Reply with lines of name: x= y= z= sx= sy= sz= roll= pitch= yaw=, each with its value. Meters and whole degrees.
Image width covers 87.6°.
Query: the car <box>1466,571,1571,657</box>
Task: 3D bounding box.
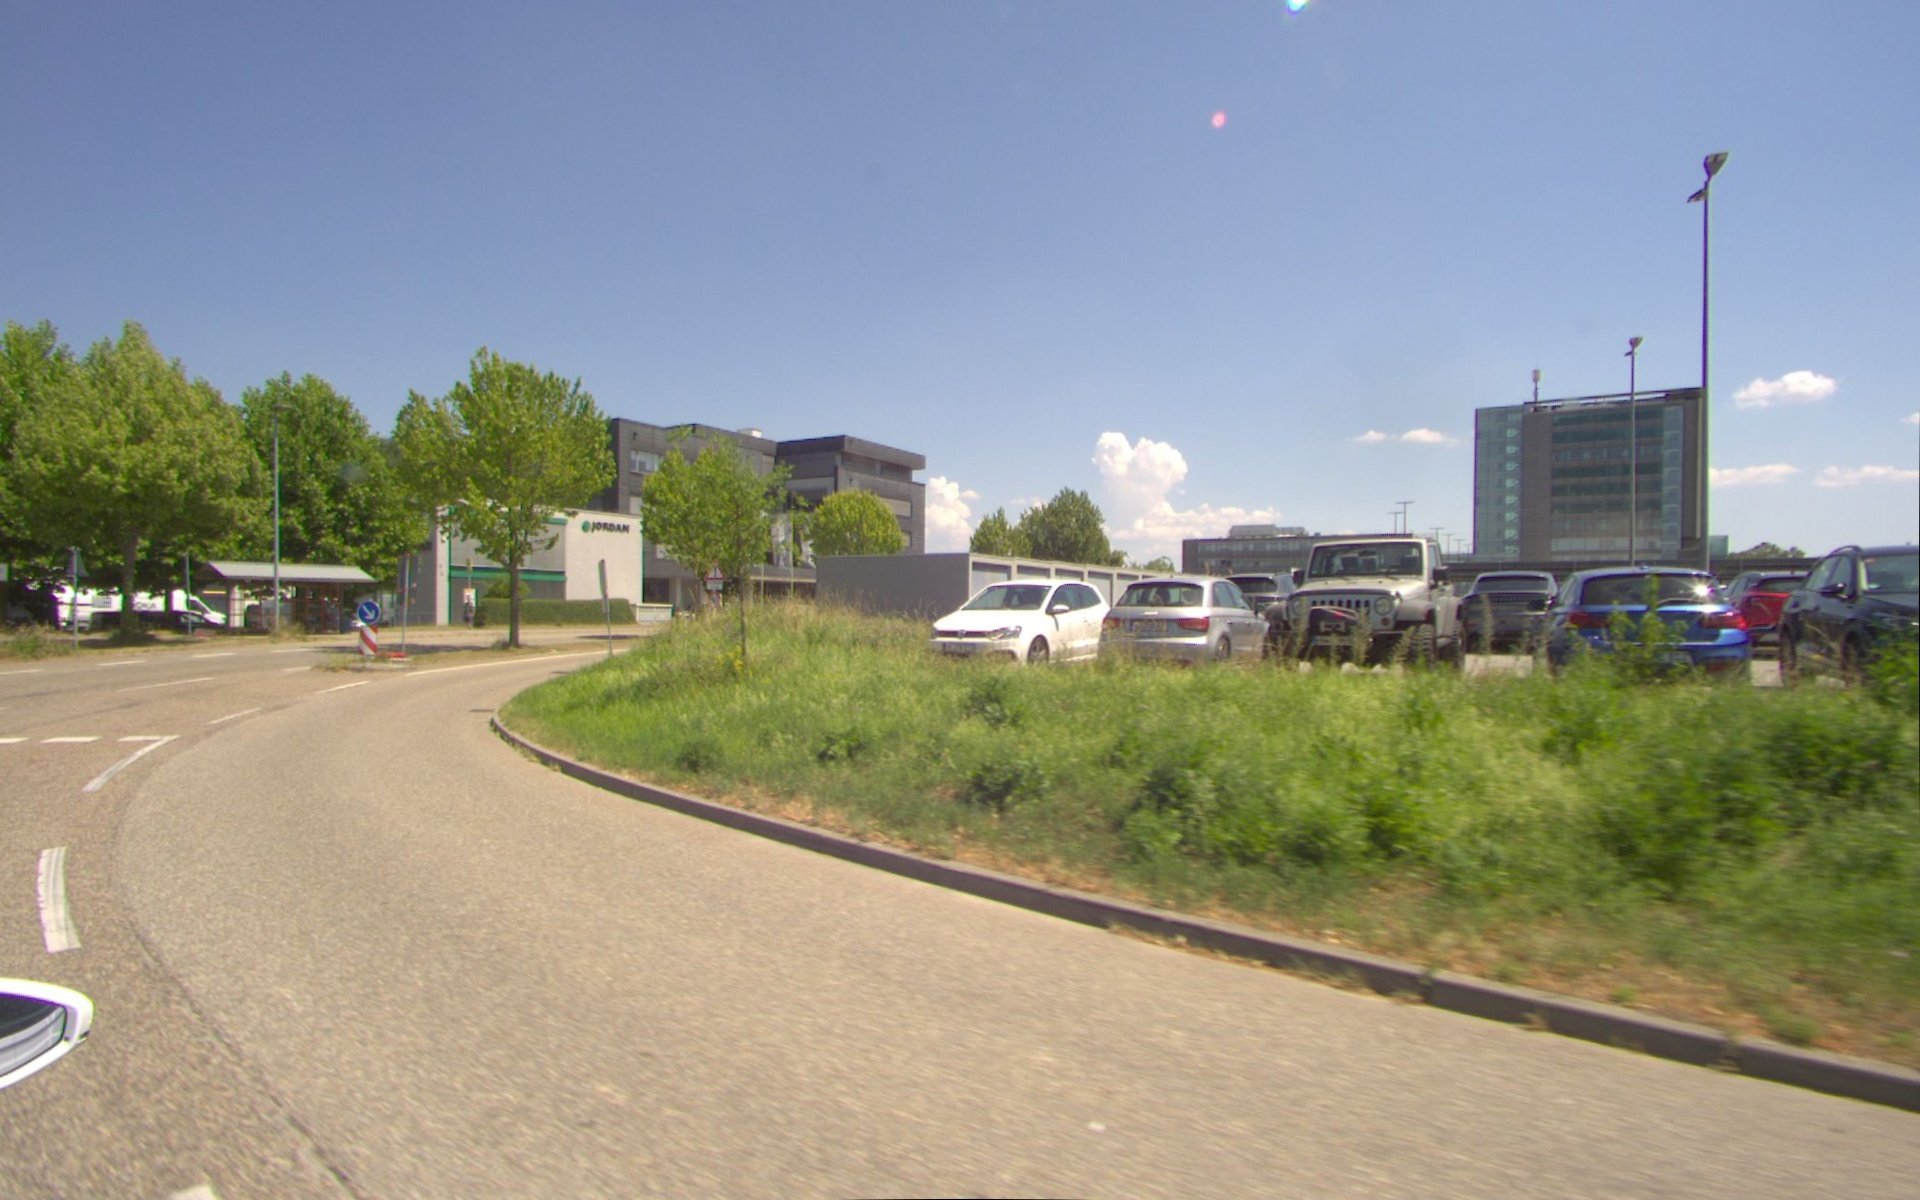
car: x=11.508 y=0.263 z=20.689 sx=1.742 sy=1.619 sz=3.623 roll=0 pitch=0 yaw=29

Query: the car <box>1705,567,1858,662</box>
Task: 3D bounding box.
car: x=15.231 y=0.269 z=18.733 sx=1.498 sy=1.594 sz=3.407 roll=-1 pitch=-1 yaw=27

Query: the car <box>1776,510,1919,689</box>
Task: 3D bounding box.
car: x=9.870 y=0.121 z=10.178 sx=1.661 sy=1.446 sz=4.030 roll=-1 pitch=-6 yaw=28

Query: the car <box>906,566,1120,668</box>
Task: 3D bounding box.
car: x=0.929 y=0.286 z=15.016 sx=1.552 sy=1.314 sz=3.859 roll=-2 pitch=-2 yaw=31

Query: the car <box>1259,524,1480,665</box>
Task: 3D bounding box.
car: x=5.453 y=-0.001 z=13.074 sx=1.852 sy=1.547 sz=3.726 roll=-2 pitch=-2 yaw=35

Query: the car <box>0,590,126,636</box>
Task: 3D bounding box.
car: x=-36.527 y=0.487 z=40.486 sx=1.814 sy=1.751 sz=3.978 roll=0 pitch=0 yaw=33

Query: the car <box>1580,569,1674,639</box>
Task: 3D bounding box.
car: x=15.817 y=0.095 z=23.889 sx=1.574 sy=1.519 sz=3.623 roll=0 pitch=0 yaw=29

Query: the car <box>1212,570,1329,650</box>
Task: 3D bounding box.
car: x=7.492 y=0.300 z=23.861 sx=1.750 sy=1.712 sz=4.587 roll=1 pitch=-2 yaw=29

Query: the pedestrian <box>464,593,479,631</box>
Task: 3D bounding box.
pedestrian: x=-22.269 y=0.566 z=45.618 sx=0.523 sy=1.690 sz=0.576 roll=2 pitch=-3 yaw=-31

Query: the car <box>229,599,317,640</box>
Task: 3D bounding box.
car: x=-34.985 y=1.017 z=50.979 sx=4.191 sy=2.038 sz=1.547 roll=-1 pitch=-3 yaw=20

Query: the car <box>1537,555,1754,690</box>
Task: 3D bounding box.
car: x=7.663 y=0.285 z=11.531 sx=1.561 sy=1.273 sz=3.932 roll=-2 pitch=-2 yaw=27

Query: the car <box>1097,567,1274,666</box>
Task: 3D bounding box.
car: x=3.238 y=0.256 z=13.976 sx=1.479 sy=1.197 sz=3.256 roll=-2 pitch=-2 yaw=30
